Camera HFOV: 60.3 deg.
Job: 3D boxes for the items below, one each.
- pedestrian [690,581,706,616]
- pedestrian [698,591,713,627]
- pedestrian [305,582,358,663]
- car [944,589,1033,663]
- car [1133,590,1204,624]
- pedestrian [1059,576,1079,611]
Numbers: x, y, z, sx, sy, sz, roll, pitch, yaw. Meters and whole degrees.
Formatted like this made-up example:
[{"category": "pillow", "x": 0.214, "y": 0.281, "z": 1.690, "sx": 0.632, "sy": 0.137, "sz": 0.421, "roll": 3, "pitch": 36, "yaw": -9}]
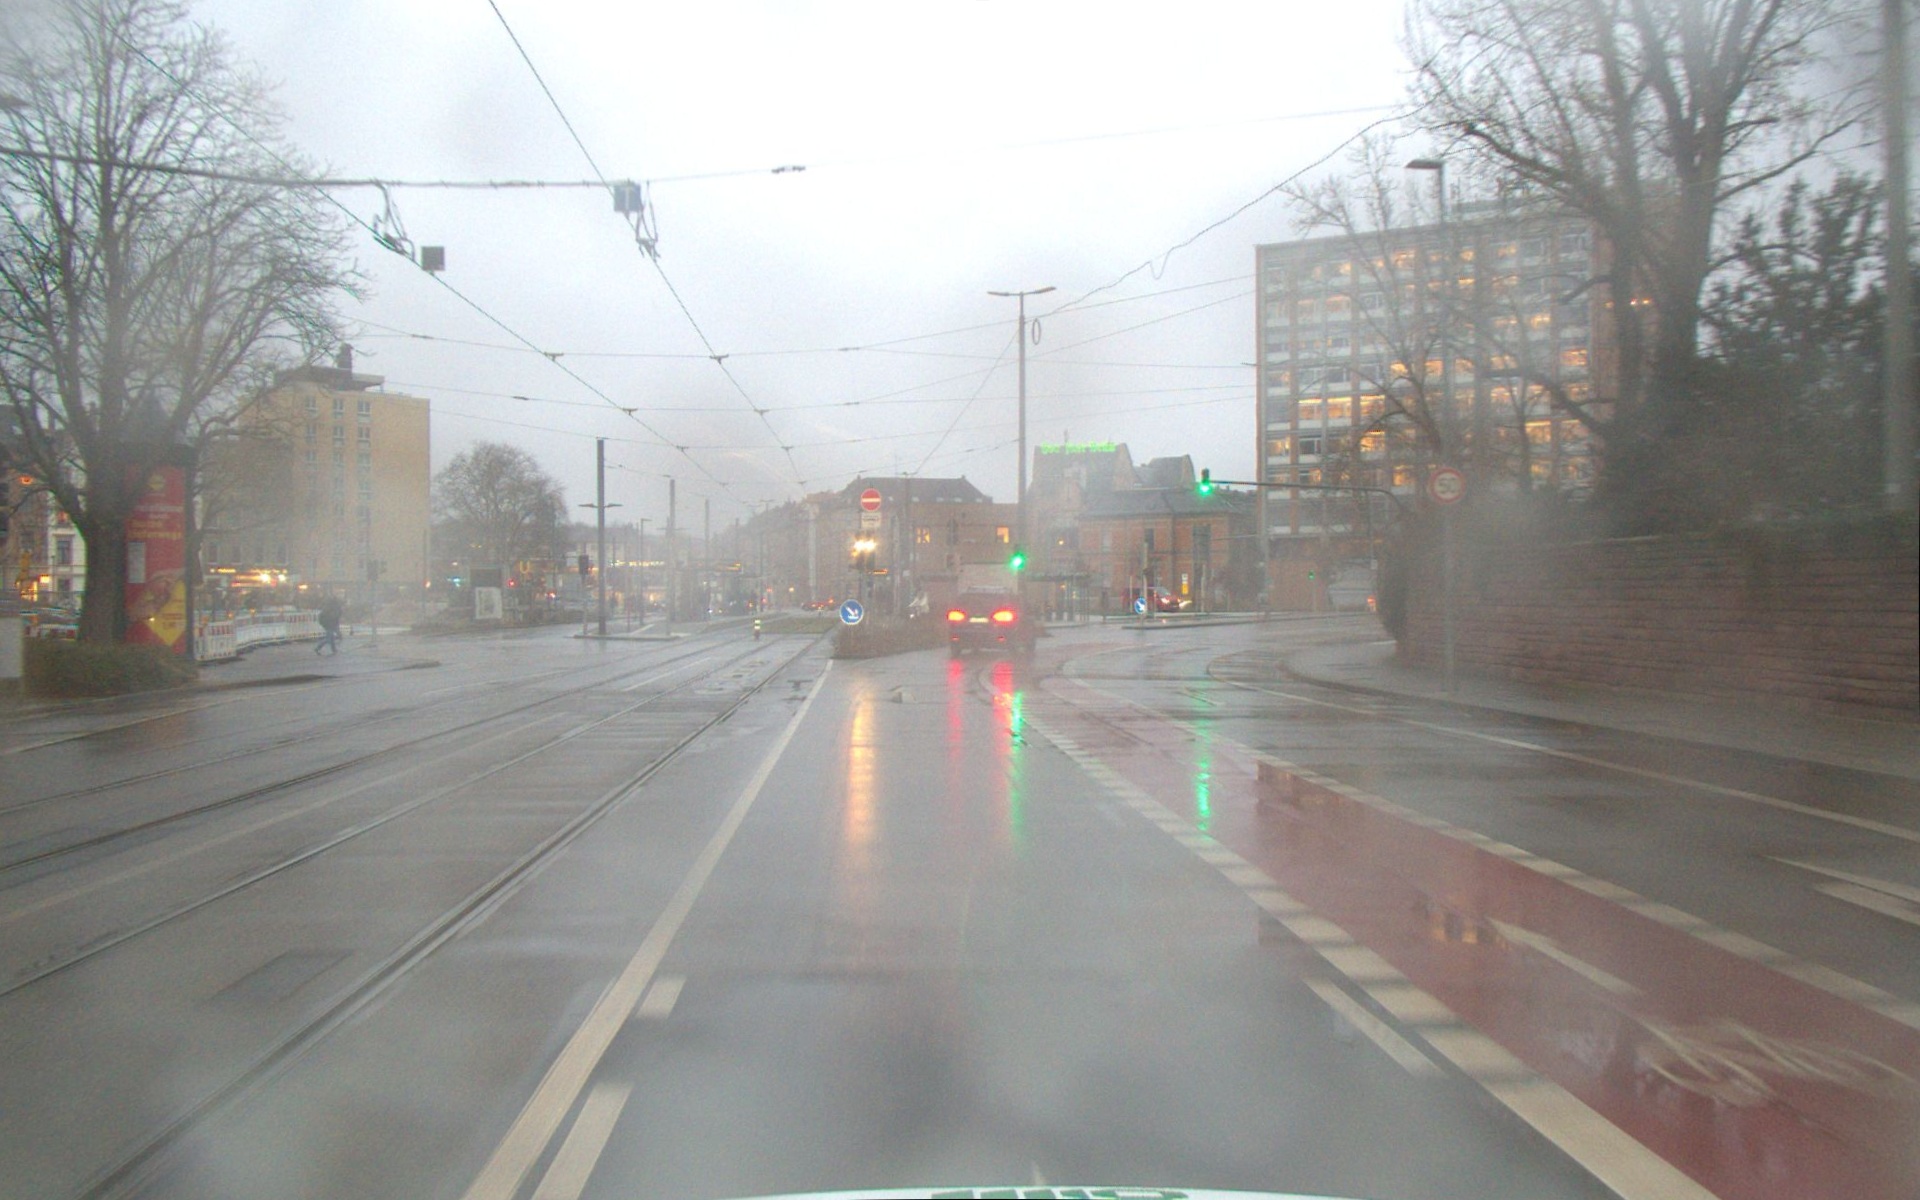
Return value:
[{"category": "pedestrian", "x": -13.527, "y": -0.073, "z": 85.416, "sx": 0.698, "sy": 1.788, "sz": 0.717, "roll": 1, "pitch": -1, "yaw": -3}, {"category": "pedestrian", "x": -13.464, "y": 0.474, "z": 87.454, "sx": 0.698, "sy": 1.838, "sz": 0.717, "roll": 1, "pitch": -1, "yaw": -3}, {"category": "pedestrian", "x": -19.216, "y": 0.681, "z": 50.584, "sx": 0.974, "sy": 2.412, "sz": 1.063, "roll": 2, "pitch": -1, "yaw": 27}, {"category": "car", "x": 0.819, "y": 0.665, "z": 45.229, "sx": 1.612, "sy": 1.850, "sz": 4.004, "roll": 1, "pitch": 1, "yaw": 13}, {"category": "car", "x": 15.457, "y": 0.520, "z": 122.905, "sx": 2.239, "sy": 2.321, "sz": 4.962, "roll": 2, "pitch": 0, "yaw": -41}, {"category": "pedestrian", "x": 5.463, "y": -0.320, "z": 82.731, "sx": 0.661, "sy": 1.703, "sz": 0.728, "roll": 1, "pitch": -1, "yaw": 35}]
